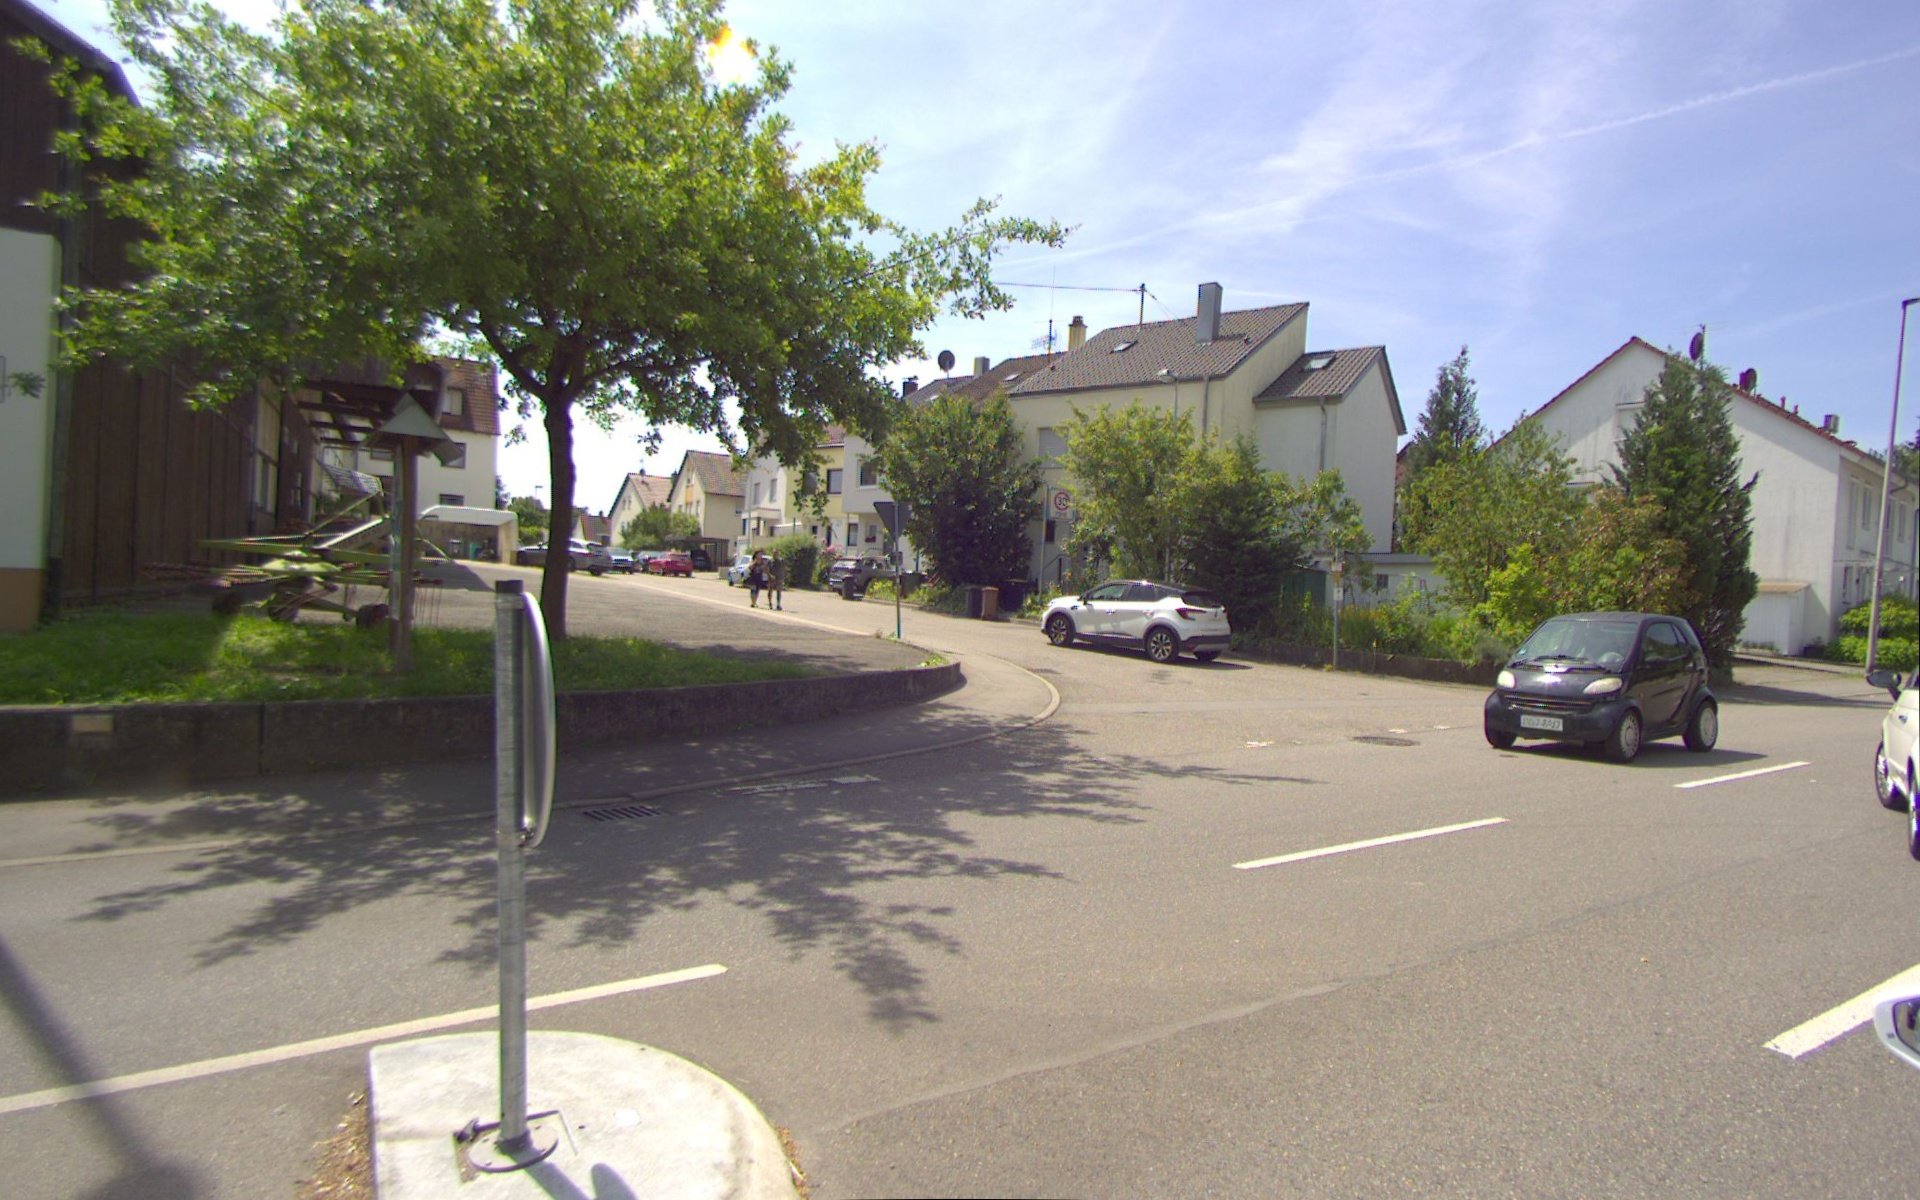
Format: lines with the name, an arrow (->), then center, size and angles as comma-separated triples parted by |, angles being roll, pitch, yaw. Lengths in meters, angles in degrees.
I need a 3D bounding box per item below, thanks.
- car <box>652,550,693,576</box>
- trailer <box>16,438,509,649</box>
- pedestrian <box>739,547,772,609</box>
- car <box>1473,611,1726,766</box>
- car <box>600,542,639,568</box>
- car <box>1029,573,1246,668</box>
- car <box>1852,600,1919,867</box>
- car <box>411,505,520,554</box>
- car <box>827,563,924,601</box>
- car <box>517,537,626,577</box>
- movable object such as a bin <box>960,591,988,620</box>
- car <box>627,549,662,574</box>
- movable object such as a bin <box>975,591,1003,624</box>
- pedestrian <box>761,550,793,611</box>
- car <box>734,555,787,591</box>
car -> -17.110, -2.219, 59.731 | 1.563, 1.400, 2.905 | 1, 3, -33
trailer -> -6.957, -0.565, 10.688 | 2.711, 1.714, 3.705 | 3, 2, -3
pedestrian -> -5.500, -0.595, 27.005 | 0.591, 1.595, 0.714 | 4, 0, -26
car -> 7.278, 0.919, 11.393 | 2.772, 1.530, 1.471 | 1, -1, -35
car -> -20.291, -2.664, 59.825 | 1.471, 1.400, 2.905 | 1, 3, -33
car -> 3.594, 0.360, 20.878 | 1.777, 1.550, 4.116 | 1, 4, -44
car -> 7.538, 0.865, 7.021 | 1.704, 1.581, 3.983 | 1, -1, 39
car -> -23.890, -3.366, 48.575 | 4.605, 2.041, 1.983 | 1, 1, -31
car -> -3.449, -0.727, 41.501 | 3.764, 1.400, 1.542 | 1, 3, -40
car -> -16.890, -1.869, 43.657 | 4.157, 1.433, 1.999 | 4, 2, 23
movable object such as a bin -> 0.419, 0.150, 29.685 | 0.595, 0.821, 0.636 | 1, 1, -24
car -> -20.384, -2.504, 64.840 | 1.388, 1.399, 2.905 | 3, 2, -33
movable object such as a bin -> 0.837, 0.203, 28.671 | 0.584, 0.902, 0.576 | 1, 3, -23
pedestrian -> -4.964, -0.520, 27.272 | 0.579, 1.595, 0.721 | 4, 0, -26
car -> -9.010, -1.239, 45.166 | 1.511, 1.417, 3.117 | 3, 2, -27
